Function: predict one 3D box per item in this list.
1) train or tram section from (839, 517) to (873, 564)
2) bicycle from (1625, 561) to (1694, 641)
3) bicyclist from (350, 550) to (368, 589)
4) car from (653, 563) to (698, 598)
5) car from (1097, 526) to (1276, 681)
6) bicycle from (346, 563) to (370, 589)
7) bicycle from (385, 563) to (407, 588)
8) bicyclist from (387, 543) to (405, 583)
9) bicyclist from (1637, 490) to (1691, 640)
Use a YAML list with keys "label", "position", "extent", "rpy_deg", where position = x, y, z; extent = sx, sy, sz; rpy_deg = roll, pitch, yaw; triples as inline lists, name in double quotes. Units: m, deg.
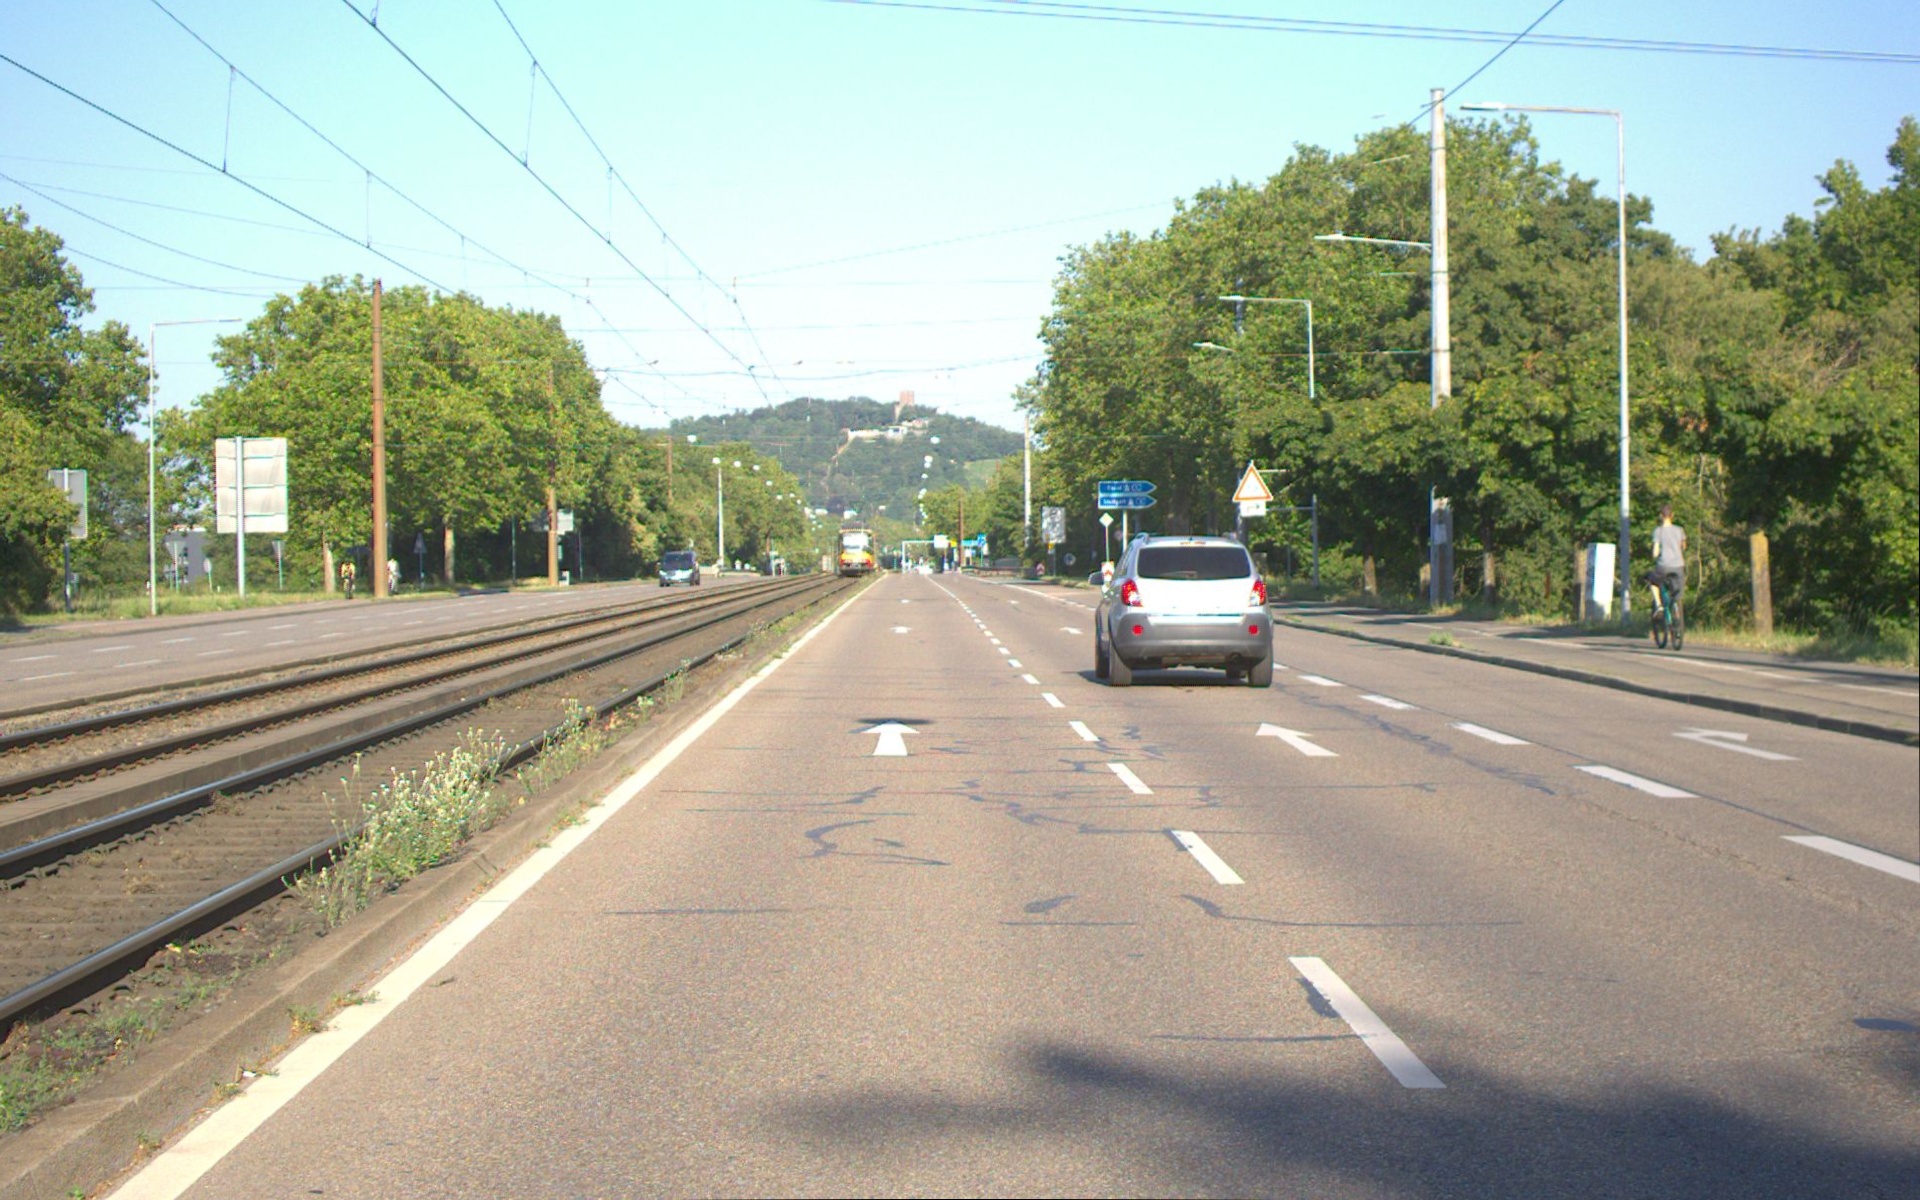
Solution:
- label: "train or tram section"
  position: [-7.628, -4.349, 253.098]
  extent: [2.310, 3.206, 9.475]
  rpy_deg: [2, 0, -1]
- label: "bicycle"
  position: [9.577, 0.014, 47.114]
  extent: [0.527, 1.057, 1.971]
  rpy_deg: [2, 0, 0]
- label: "bicyclist"
  position: [-23.954, -1.221, 136.993]
  extent: [0.590, 1.523, 0.906]
  rpy_deg: [0, 0, -1]
- label: "car"
  position: [-15.686, -1.062, 189.498]
  extent: [1.993, 1.916, 4.860]
  rpy_deg: [-1, 0, 1]
- label: "car"
  position: [2.568, 0.033, 39.855]
  extent: [1.888, 1.688, 4.256]
  rpy_deg: [0, 0, 1]
- label: "bicycle"
  position: [-23.957, -0.955, 136.843]
  extent: [0.590, 1.018, 2.186]
  rpy_deg: [0, 0, -1]
- label: "bicycle"
  position: [-22.855, -0.990, 139.273]
  extent: [0.590, 1.018, 2.186]
  rpy_deg: [0, 0, -1]
- label: "bicyclist"
  position: [-22.847, -1.491, 139.205]
  extent: [0.590, 1.605, 0.967]
  rpy_deg: [0, 0, -1]
- label: "bicyclist"
  position: [9.592, -0.470, 46.863]
  extent: [0.527, 2.010, 0.729]
  rpy_deg: [2, 0, 0]
